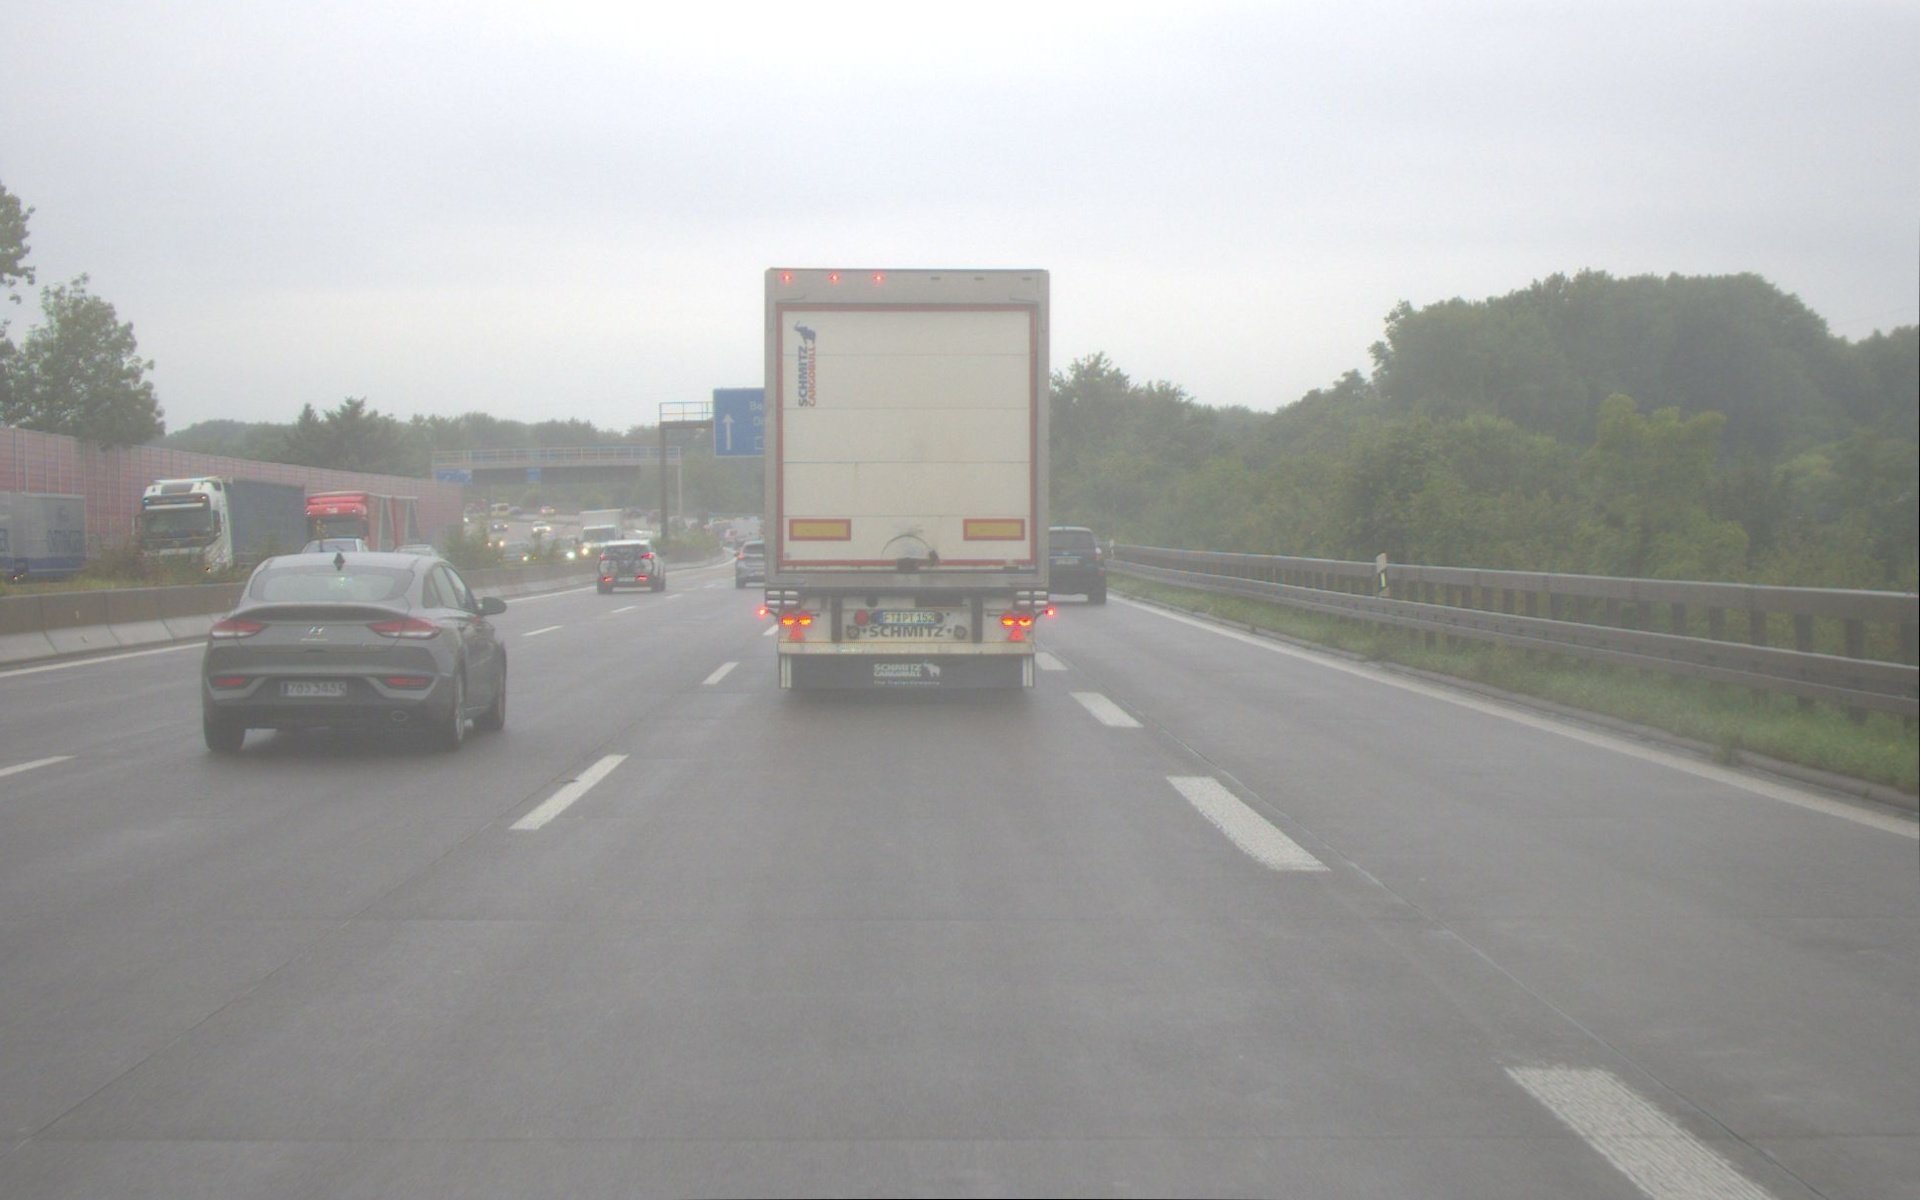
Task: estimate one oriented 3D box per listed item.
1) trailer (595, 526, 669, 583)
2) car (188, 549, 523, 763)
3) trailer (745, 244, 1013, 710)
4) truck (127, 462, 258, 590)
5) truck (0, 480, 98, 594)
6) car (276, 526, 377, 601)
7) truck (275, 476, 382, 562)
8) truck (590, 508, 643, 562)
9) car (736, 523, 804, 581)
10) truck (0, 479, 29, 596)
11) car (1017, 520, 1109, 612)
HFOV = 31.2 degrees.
[{"bbox_3d":[-9.691,-1.355,101.831,1.815,1.619,4.568,0,1,-1],"label":"trailer"},{"bbox_3d":[-4.396,0.343,25.659,1.725,1.398,4.829,0,1,-1],"label":"car"},{"bbox_3d":[-0.829,-1.362,38.229,2.342,4.143,14.829,1,2,-1],"label":"trailer"},{"bbox_3d":[-25.001,-2.409,112.238,3.046,4.014,6.052,1,1,-1],"label":"truck"},{"bbox_3d":[-29.021,-1.966,105.786,2.972,3.339,8.701,1,1,-2],"label":"truck"},{"bbox_3d":[-17.496,-1.032,95.138,1.993,2.007,4.792,0,1,-1],"label":"car"},{"bbox_3d":[-26.470,-3.389,144.638,2.780,3.478,10.619,-1,1,-1],"label":"truck"},{"bbox_3d":[-18.729,-3.560,187.738,2.266,2.819,7.280,1,1,-1],"label":"truck"},{"bbox_3d":[-5.807,-1.494,105.487,1.894,1.717,4.000,1,1,-1],"label":"car"},{"bbox_3d":[-28.683,-1.766,96.178,2.712,3.339,10.433,1,1,-2],"label":"truck"},{"bbox_3d":[2.240,-0.766,75.588,1.897,1.943,4.000,1,1,1],"label":"car"}]
